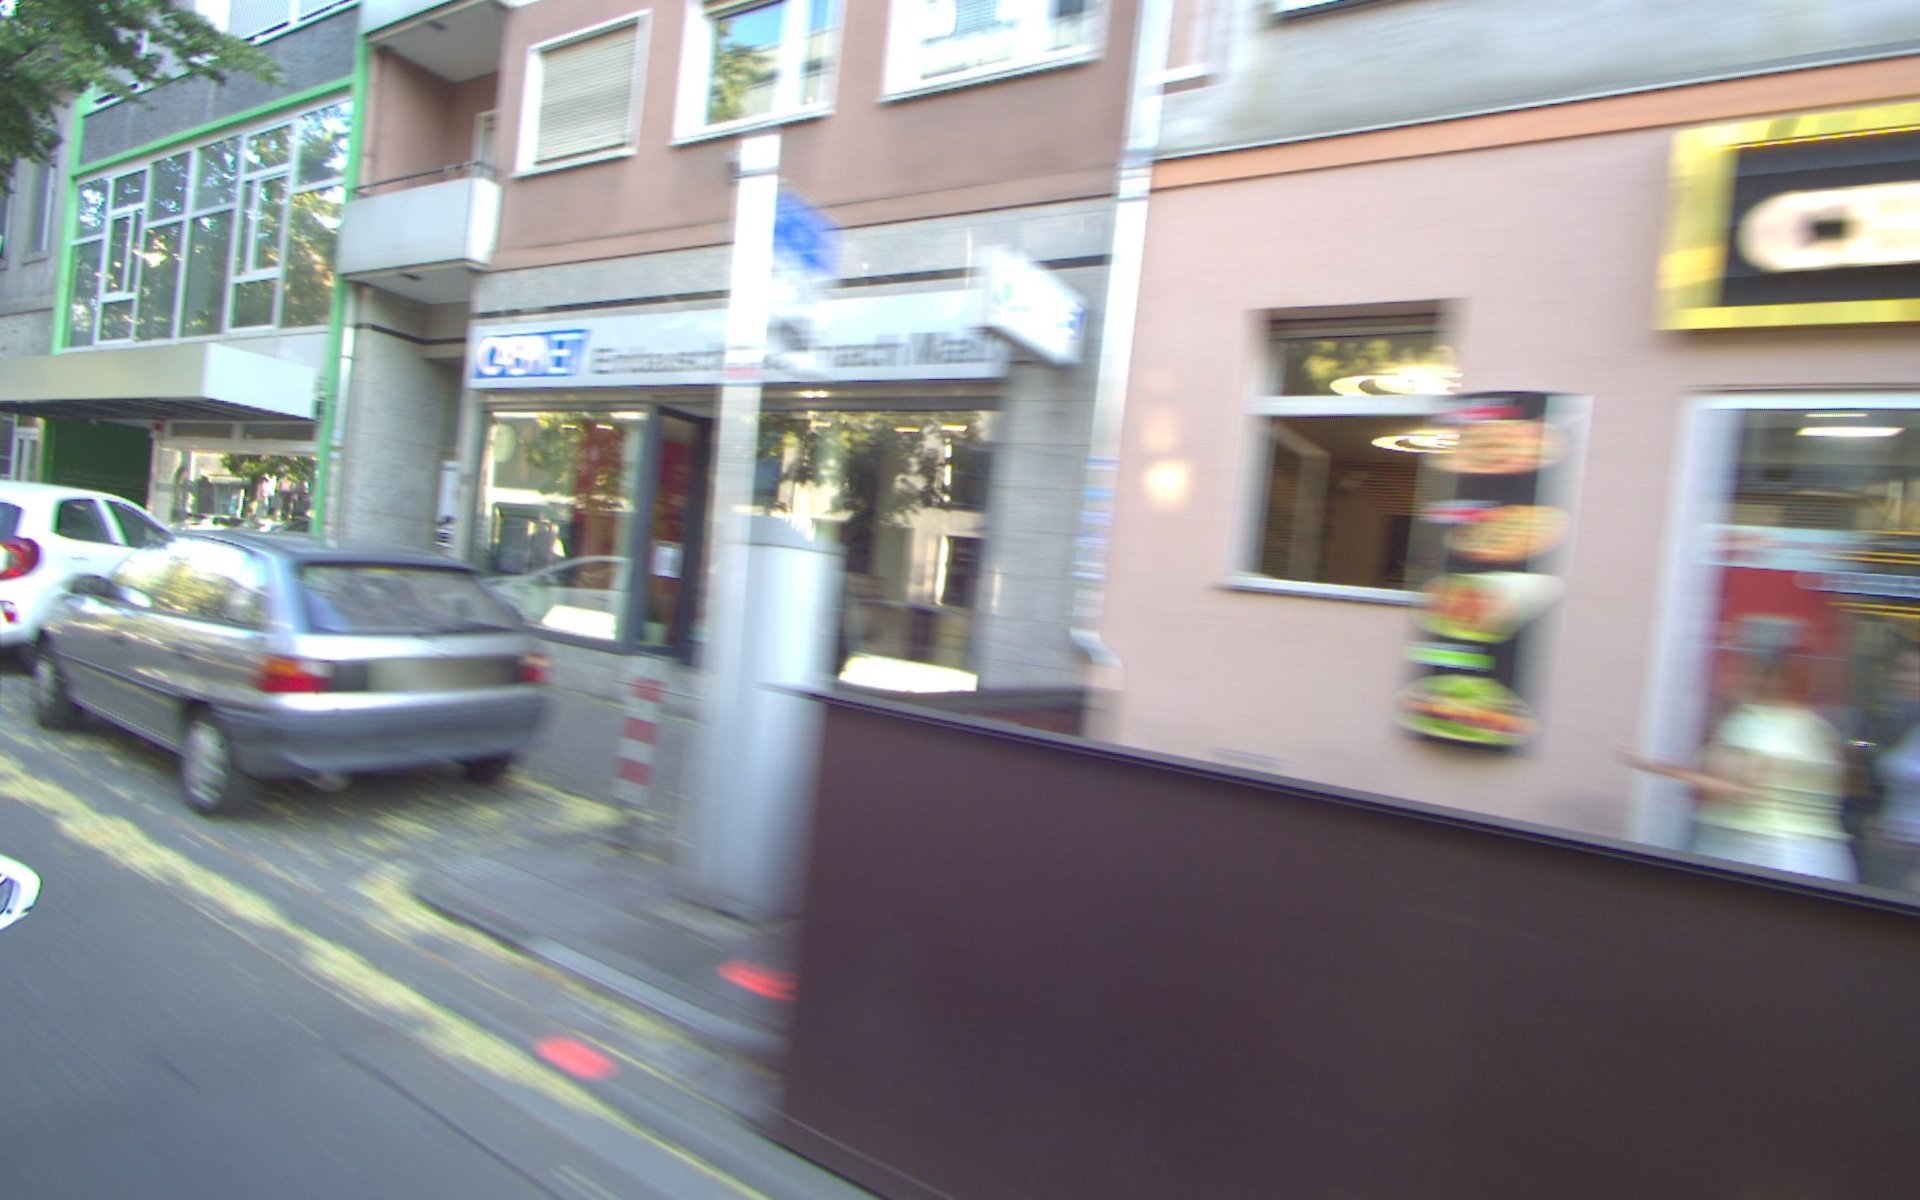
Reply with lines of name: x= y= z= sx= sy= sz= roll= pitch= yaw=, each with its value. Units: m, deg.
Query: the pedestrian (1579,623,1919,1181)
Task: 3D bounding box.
pedestrian: x=2.847 y=0.970 z=3.653 sx=0.841 sy=1.652 sz=0.747 roll=7 pitch=1 yaw=32

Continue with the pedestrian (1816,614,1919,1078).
pedestrian: x=3.803 y=0.924 z=3.764 sx=0.657 sy=1.652 sz=0.606 roll=7 pitch=1 yaw=32

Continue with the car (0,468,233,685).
car: x=-8.265 y=-0.340 z=9.043 sx=1.640 sy=1.606 sz=3.607 roll=5 pitch=3 yaw=-17

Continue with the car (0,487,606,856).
car: x=-4.250 y=0.203 z=6.305 sx=3.927 sy=1.494 sz=1.823 roll=7 pitch=4 yaw=34

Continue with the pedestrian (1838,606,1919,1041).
pedestrian: x=4.280 y=0.944 z=4.199 sx=0.657 sy=1.760 sz=0.606 roll=7 pitch=1 yaw=32
